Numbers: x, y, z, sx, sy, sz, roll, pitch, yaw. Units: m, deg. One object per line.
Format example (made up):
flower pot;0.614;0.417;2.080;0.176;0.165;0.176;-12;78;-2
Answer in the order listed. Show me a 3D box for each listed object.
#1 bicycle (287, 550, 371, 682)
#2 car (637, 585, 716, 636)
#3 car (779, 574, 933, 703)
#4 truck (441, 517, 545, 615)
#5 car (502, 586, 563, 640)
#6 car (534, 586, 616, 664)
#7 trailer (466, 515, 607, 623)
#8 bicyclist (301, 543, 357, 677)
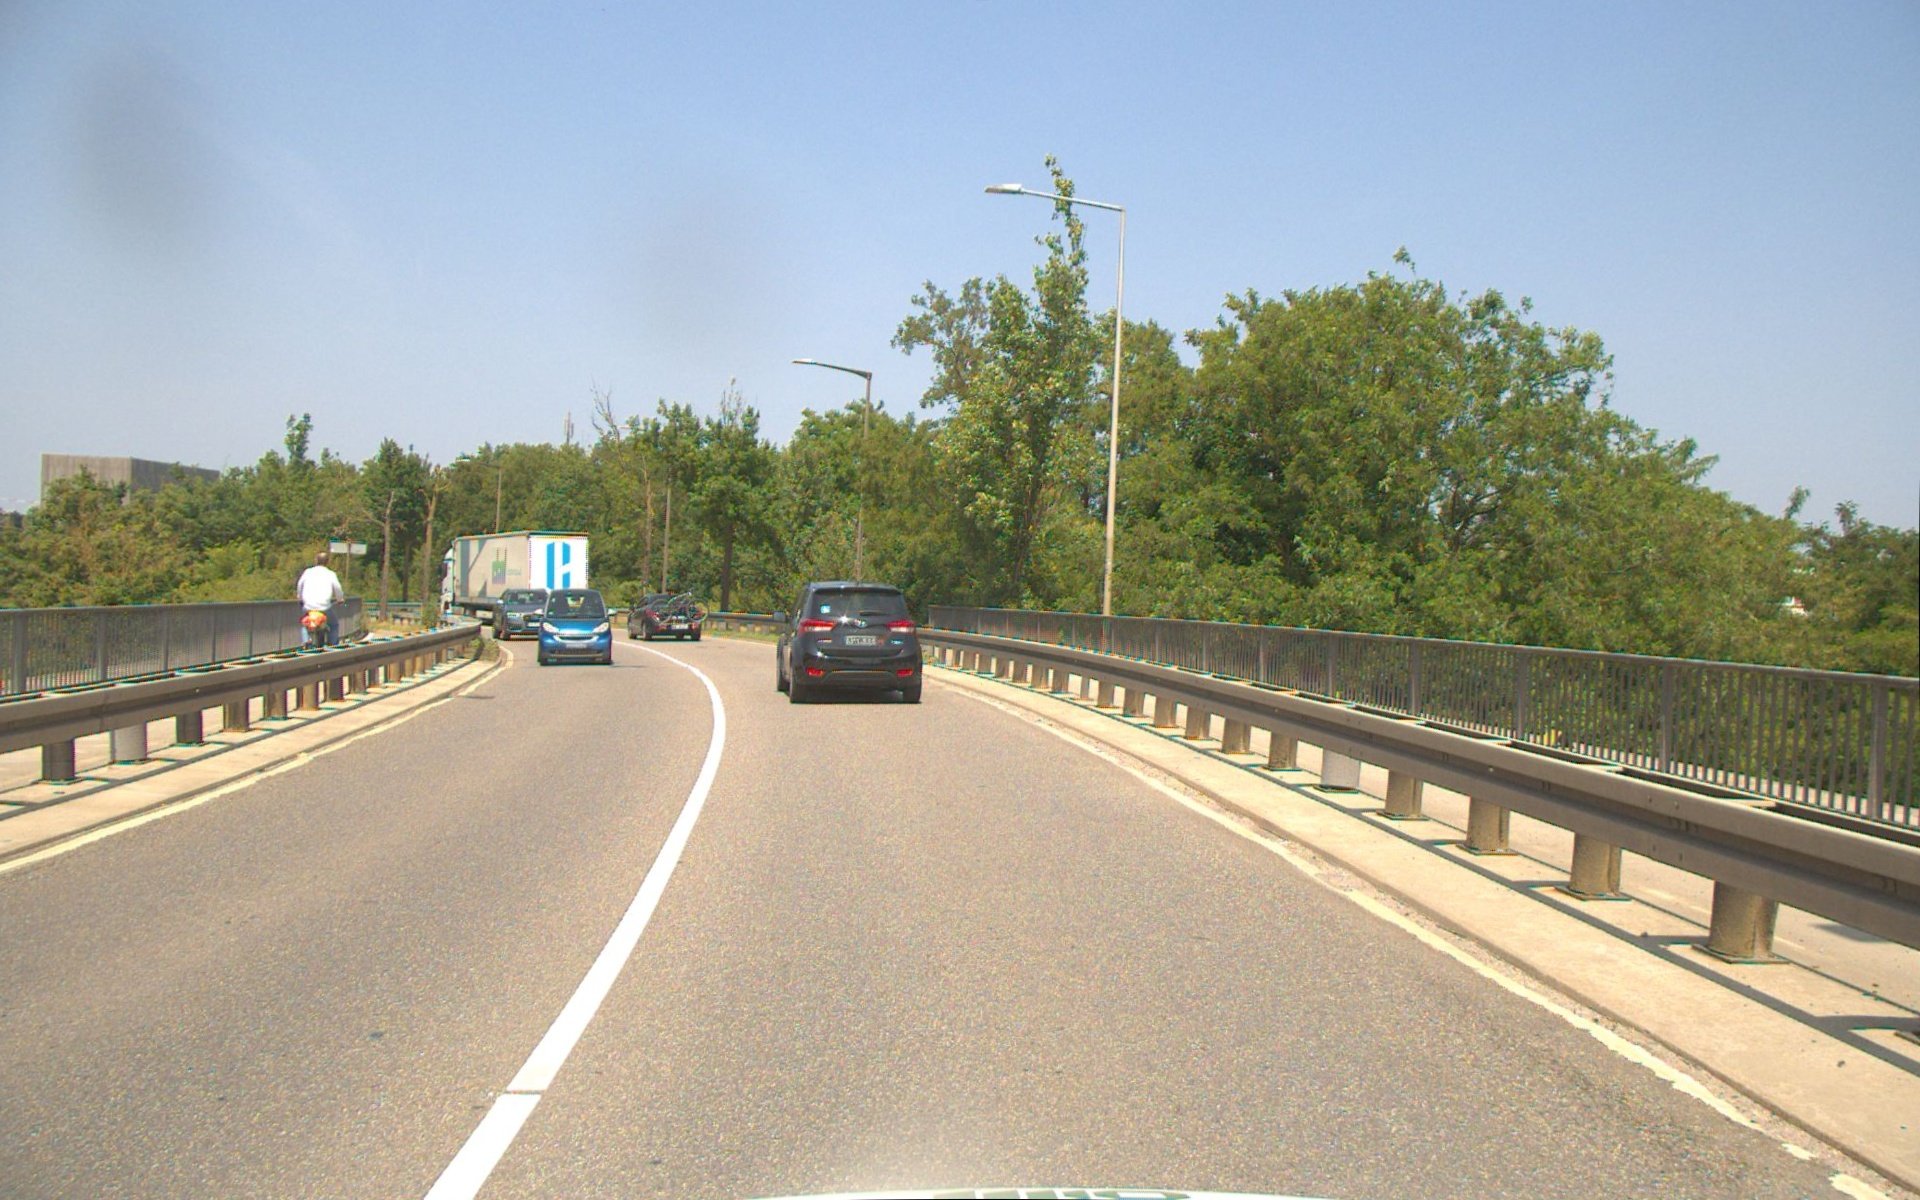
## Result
bicycle;-9.126;0.201;23.999;0.685;1.833;2.176;0;1;-9
car;-8.723;0.298;50.622;1.979;1.454;3.760;0;1;-16
car;-1.528;0.462;22.940;1.885;1.601;3.885;1;1;-7
truck;-22.830;-1.660;80.635;3.534;4.518;6.453;0;1;-29
car;-13.483;0.374;52.172;1.792;1.563;4.179;0;1;-15
car;-8.081;0.497;34.611;1.571;1.512;2.737;0;1;-16
trailer;-19.099;-1.418;73.957;3.529;4.460;11.335;0;1;-28
bicyclist;-9.138;0.135;23.969;0.613;1.919;0.711;0;1;-10
